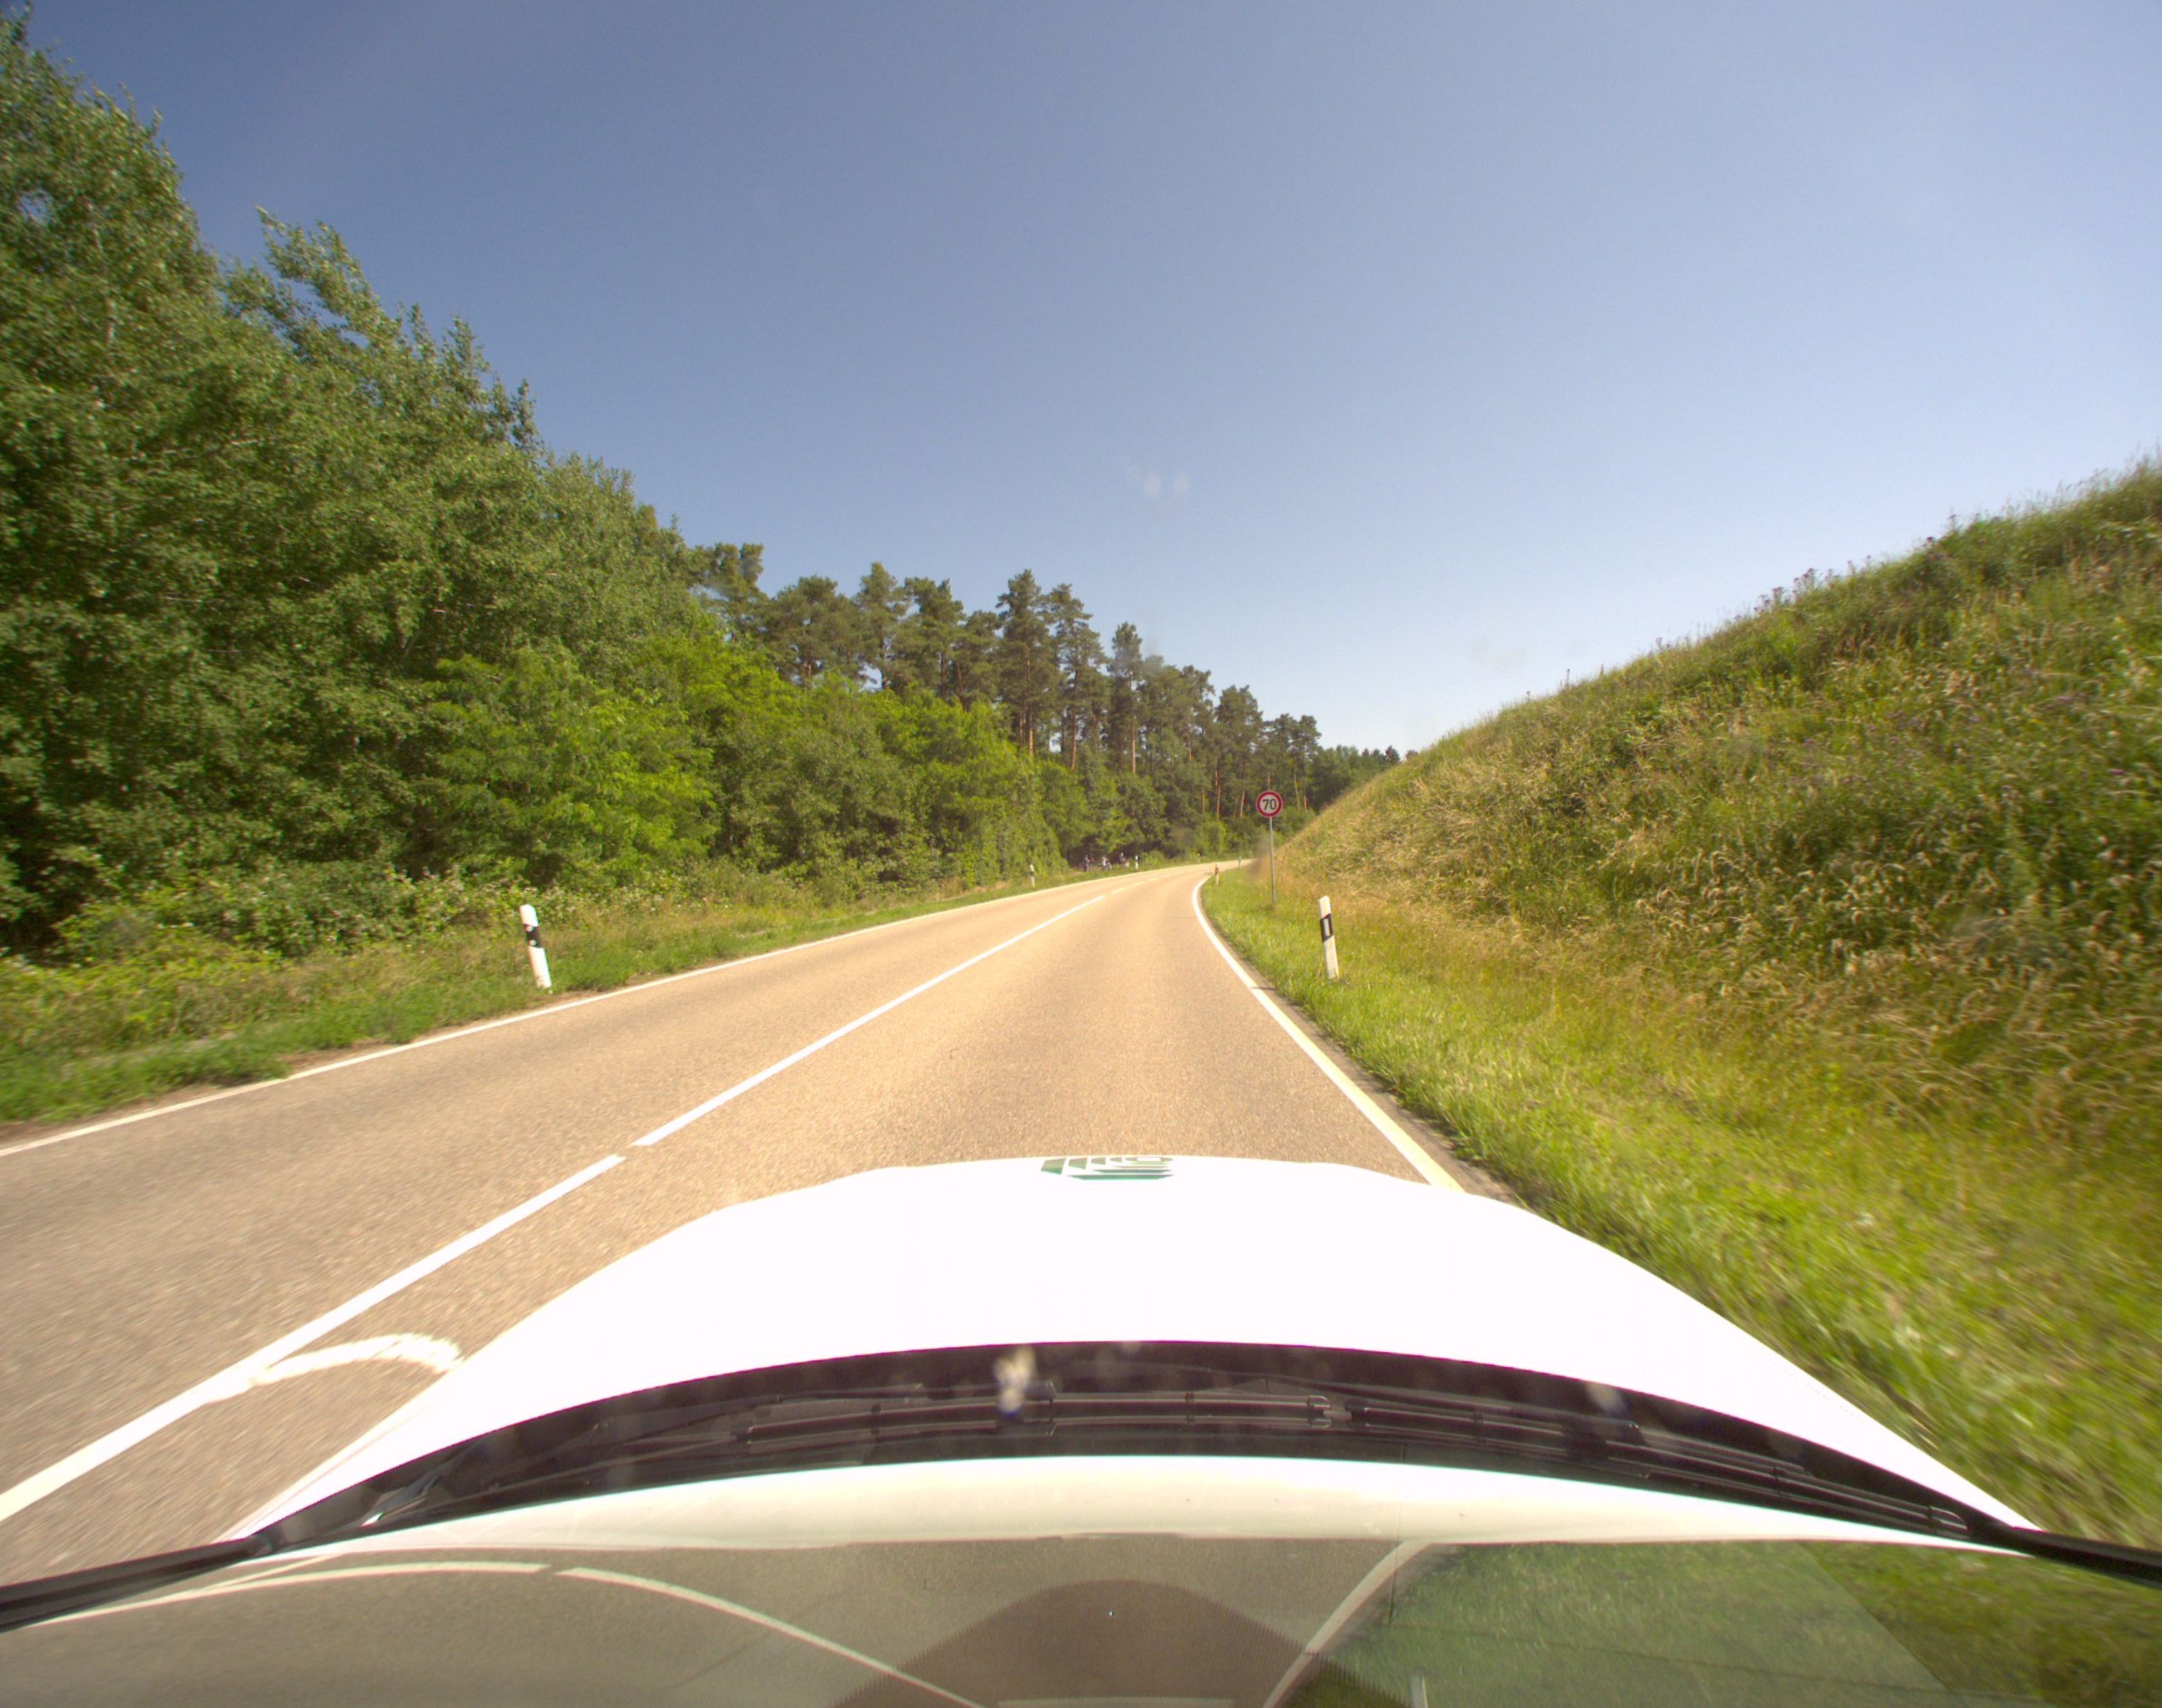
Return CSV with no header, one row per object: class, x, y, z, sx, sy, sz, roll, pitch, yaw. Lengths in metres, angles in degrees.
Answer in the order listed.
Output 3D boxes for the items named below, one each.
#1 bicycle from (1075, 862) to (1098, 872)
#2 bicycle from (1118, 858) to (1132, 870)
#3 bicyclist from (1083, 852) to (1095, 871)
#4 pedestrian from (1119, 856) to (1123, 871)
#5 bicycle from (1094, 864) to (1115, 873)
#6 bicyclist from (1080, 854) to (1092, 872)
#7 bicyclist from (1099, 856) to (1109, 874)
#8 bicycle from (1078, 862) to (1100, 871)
bicycle,0.457,1.136,72.631,1.990,0.829,0.600,0,-1,-28
bicycle,4.451,1.001,81.808,1.455,1.086,0.575,-3,2,-43
bicyclist,0.725,0.697,73.694,0.852,1.700,0.600,0,-1,-28
pedestrian,4.045,0.962,81.773,0.282,1.538,0.392,-3,-1,14
bicycle,2.225,1.338,77.350,1.986,0.829,0.602,0,-1,-21
bicyclist,0.454,0.782,72.645,0.873,1.545,0.600,0,-1,-28
bicyclist,2.201,1.021,77.340,0.790,1.719,0.602,0,-1,-21
bicycle,0.703,1.141,73.671,1.990,0.829,0.600,0,-1,-28
